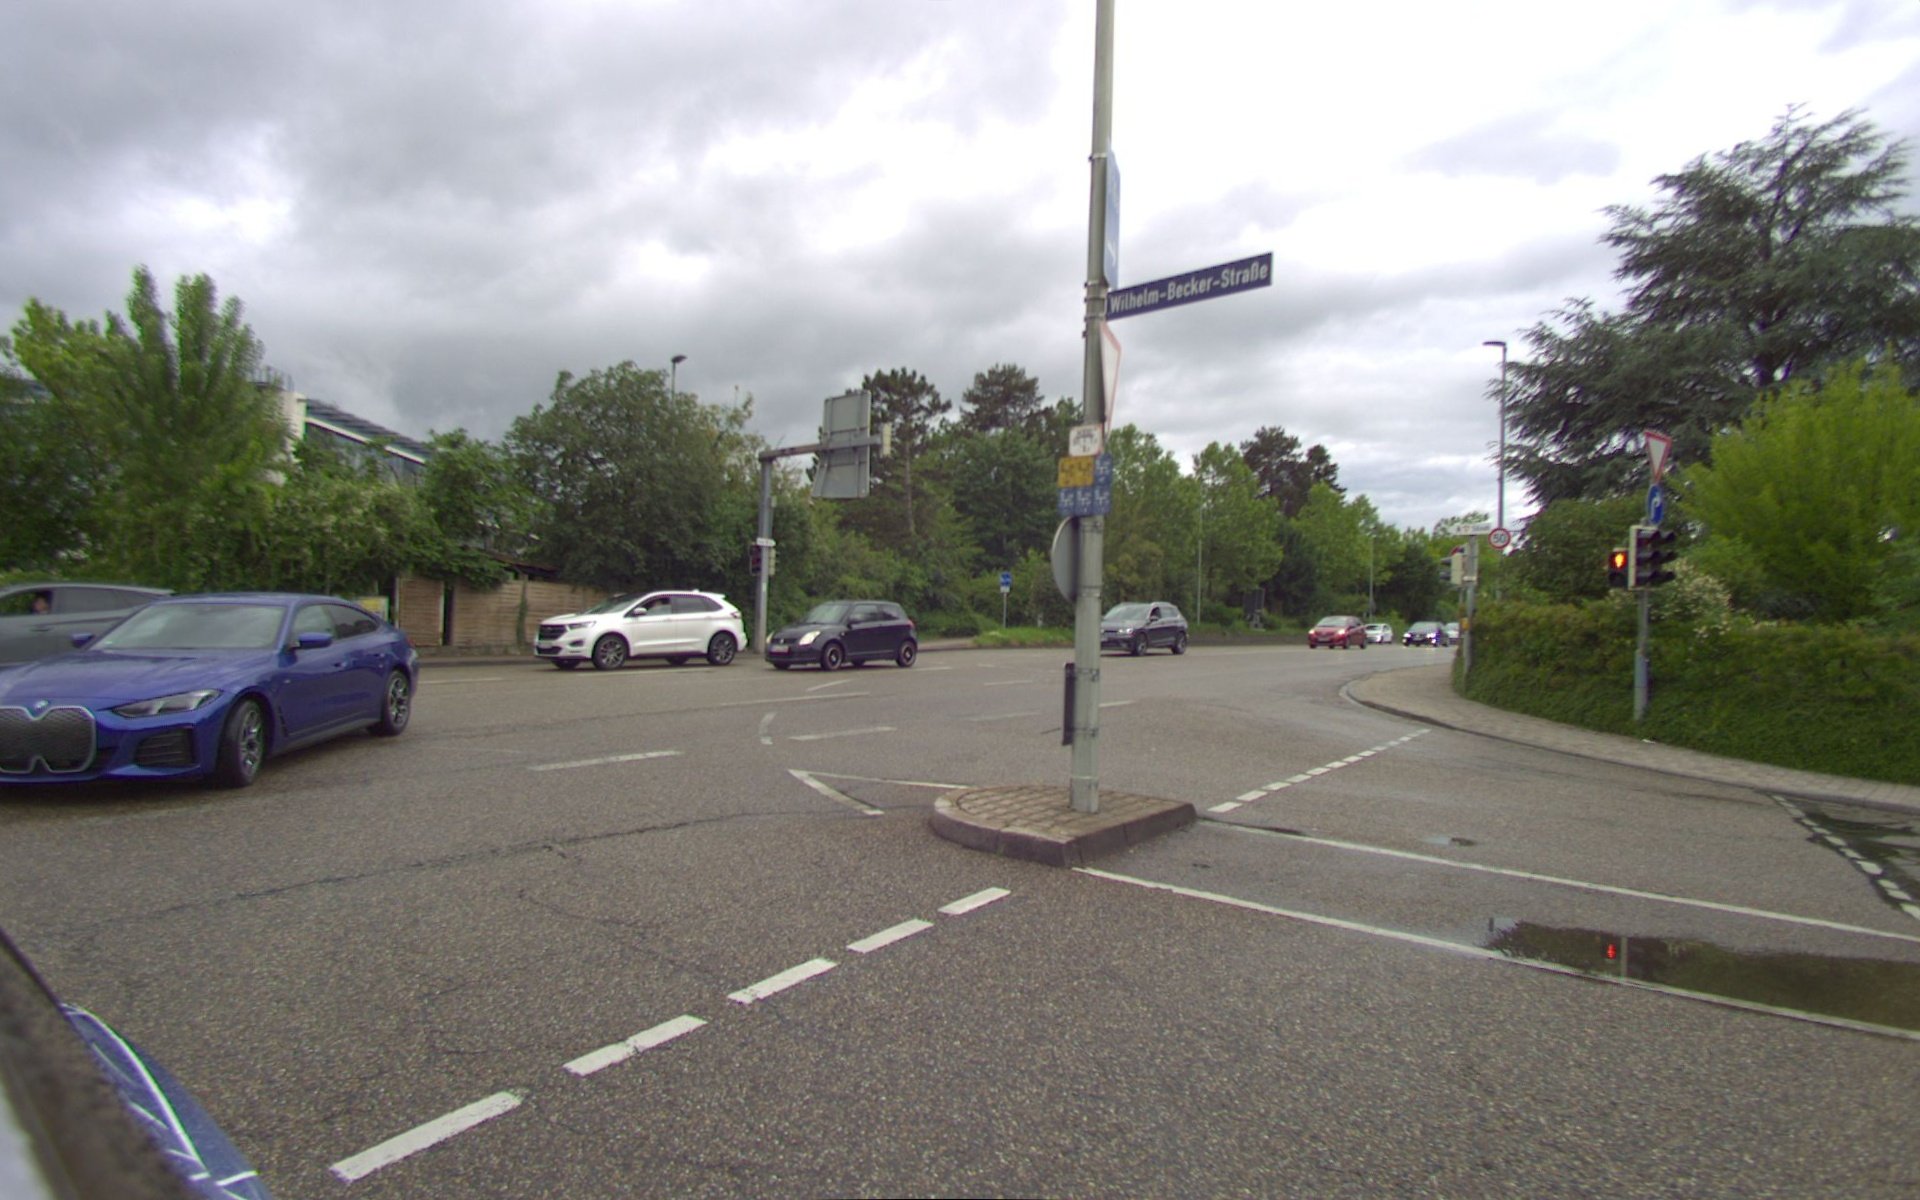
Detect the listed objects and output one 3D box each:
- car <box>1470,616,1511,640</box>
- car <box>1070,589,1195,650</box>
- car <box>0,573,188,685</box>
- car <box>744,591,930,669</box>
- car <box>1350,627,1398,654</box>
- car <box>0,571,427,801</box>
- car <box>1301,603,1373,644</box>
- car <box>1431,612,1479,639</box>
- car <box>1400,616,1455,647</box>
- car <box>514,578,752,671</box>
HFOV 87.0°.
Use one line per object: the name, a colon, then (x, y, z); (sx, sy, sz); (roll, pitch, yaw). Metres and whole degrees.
car: (38.100, 1.952, 72.702); (1.867, 1.614, 3.947); (0, 0, 39)
car: (5.404, 0.572, 31.381); (1.968, 1.763, 4.249); (0, 0, 40)
car: (-14.907, 0.426, 15.727); (1.902, 1.652, 4.283); (0, 0, 35)
car: (-2.588, 0.593, 22.035); (1.745, 1.530, 3.948); (0, 0, 38)
car: (29.213, 2.836, 71.421); (1.998, 1.763, 3.946); (-3, -2, 40)
car: (-6.532, 0.556, 8.813); (1.885, 1.507, 4.355); (1, 0, -7)
car: (16.978, 1.025, 45.449); (1.867, 1.739, 3.947); (0, 0, 39)
car: (30.896, 1.550, 63.142); (1.867, 1.614, 3.947); (0, 0, 39)
car: (26.354, 1.748, 57.002); (1.867, 1.614, 3.947); (0, 0, 39)
car: (-6.996, 0.476, 22.084); (1.998, 1.804, 4.617); (0, 0, 39)
